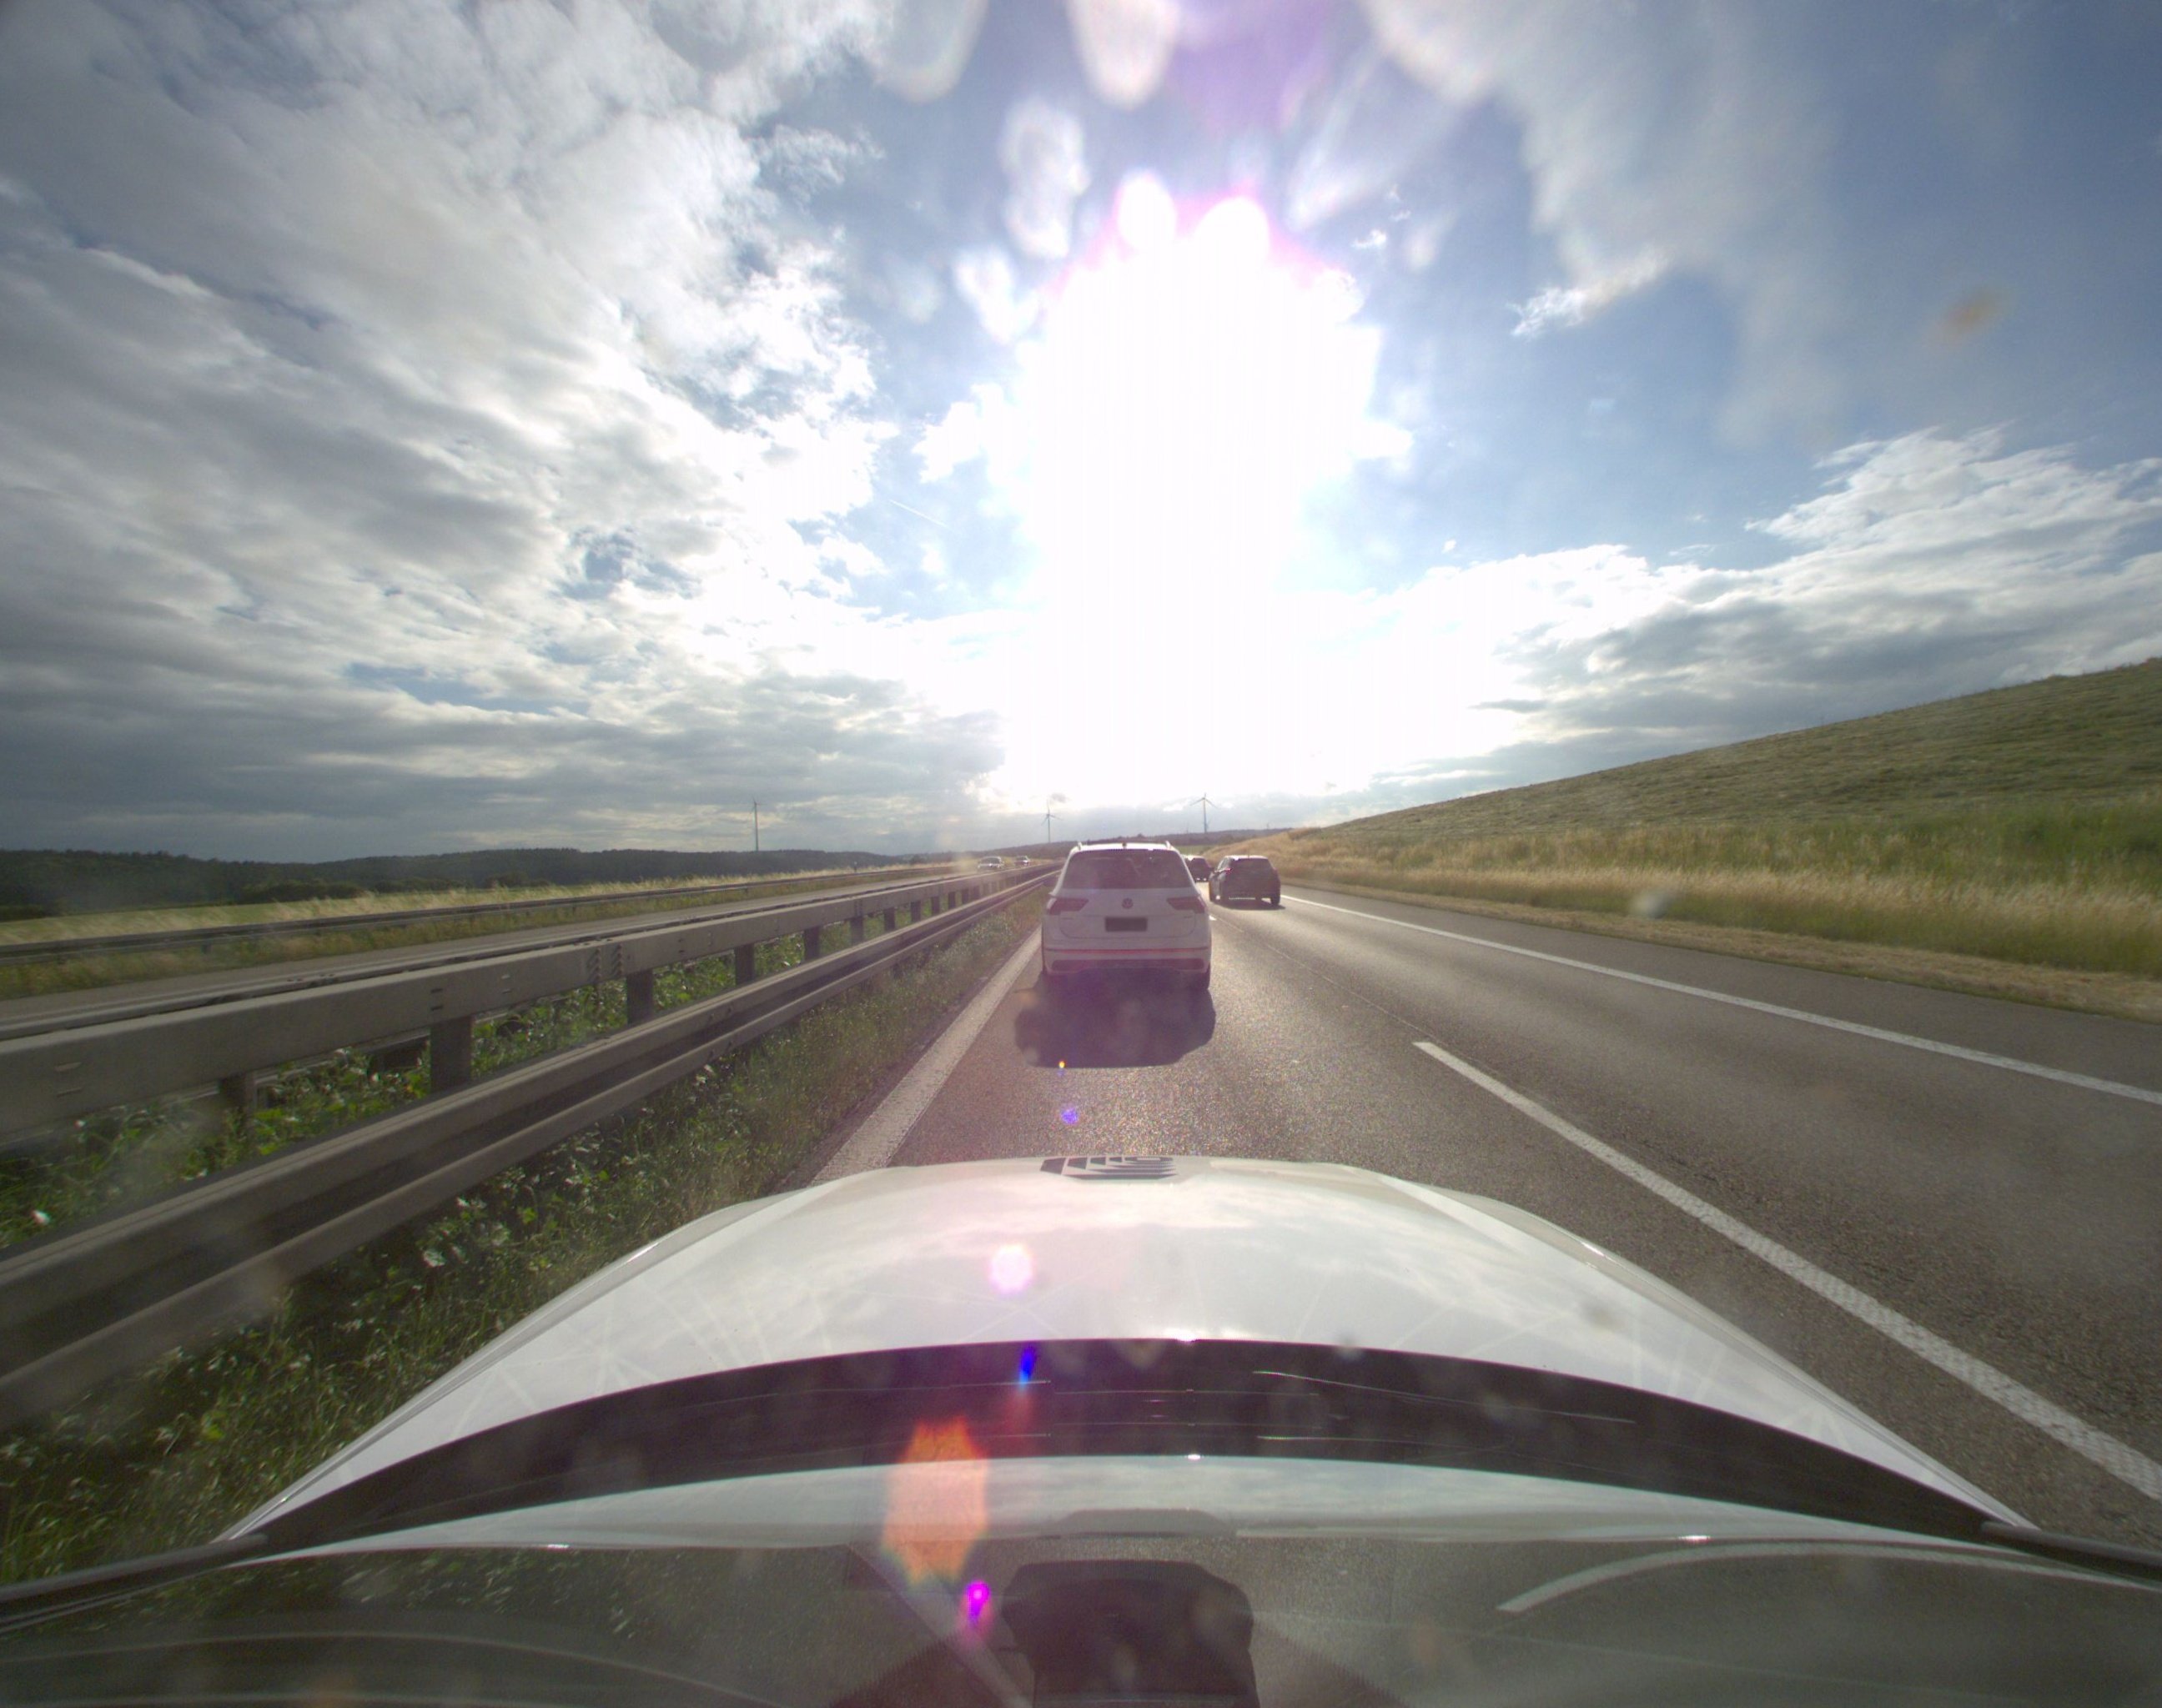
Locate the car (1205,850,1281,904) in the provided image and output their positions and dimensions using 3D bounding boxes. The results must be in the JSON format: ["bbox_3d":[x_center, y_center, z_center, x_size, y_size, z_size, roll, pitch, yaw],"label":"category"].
[{"bbox_3d":[4.990,0.684,25.516,1.697,1.546,4.001,0,-1,2],"label":"car"}]

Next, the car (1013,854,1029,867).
[{"bbox_3d":[-7.491,0.837,102.263,1.610,1.521,4.000,0,-1,1],"label":"car"}]

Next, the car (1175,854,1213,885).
[{"bbox_3d":[6.392,0.874,46.302,1.697,1.650,4.001,0,-1,2],"label":"car"}]

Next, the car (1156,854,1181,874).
[{"bbox_3d":[7.055,0.777,66.011,1.697,1.546,4.001,0,-1,2],"label":"car"}]

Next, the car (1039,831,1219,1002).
[{"bbox_3d":[0.539,0.632,10.048,1.763,1.675,4.001,0,-1,2],"label":"car"}]

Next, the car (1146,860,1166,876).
[{"bbox_3d":[7.240,1.316,78.742,1.697,1.546,4.001,0,-1,2],"label":"car"}]

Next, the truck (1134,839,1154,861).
[{"bbox_3d":[10.595,-0.714,137.179,3.170,3.594,11.141,0,0,4],"label":"truck"}]

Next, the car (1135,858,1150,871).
[{"bbox_3d":[7.649,1.279,101.586,1.697,1.546,4.001,0,-1,2],"label":"car"}]

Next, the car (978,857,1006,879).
[{"bbox_3d":[-6.826,1.057,62.729,1.610,1.585,4.065,0,-1,1],"label":"car"}]

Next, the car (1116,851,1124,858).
[{"bbox_3d":[7.994,0.124,166.888,1.697,1.546,4.001,0,-1,2],"label":"car"}]
